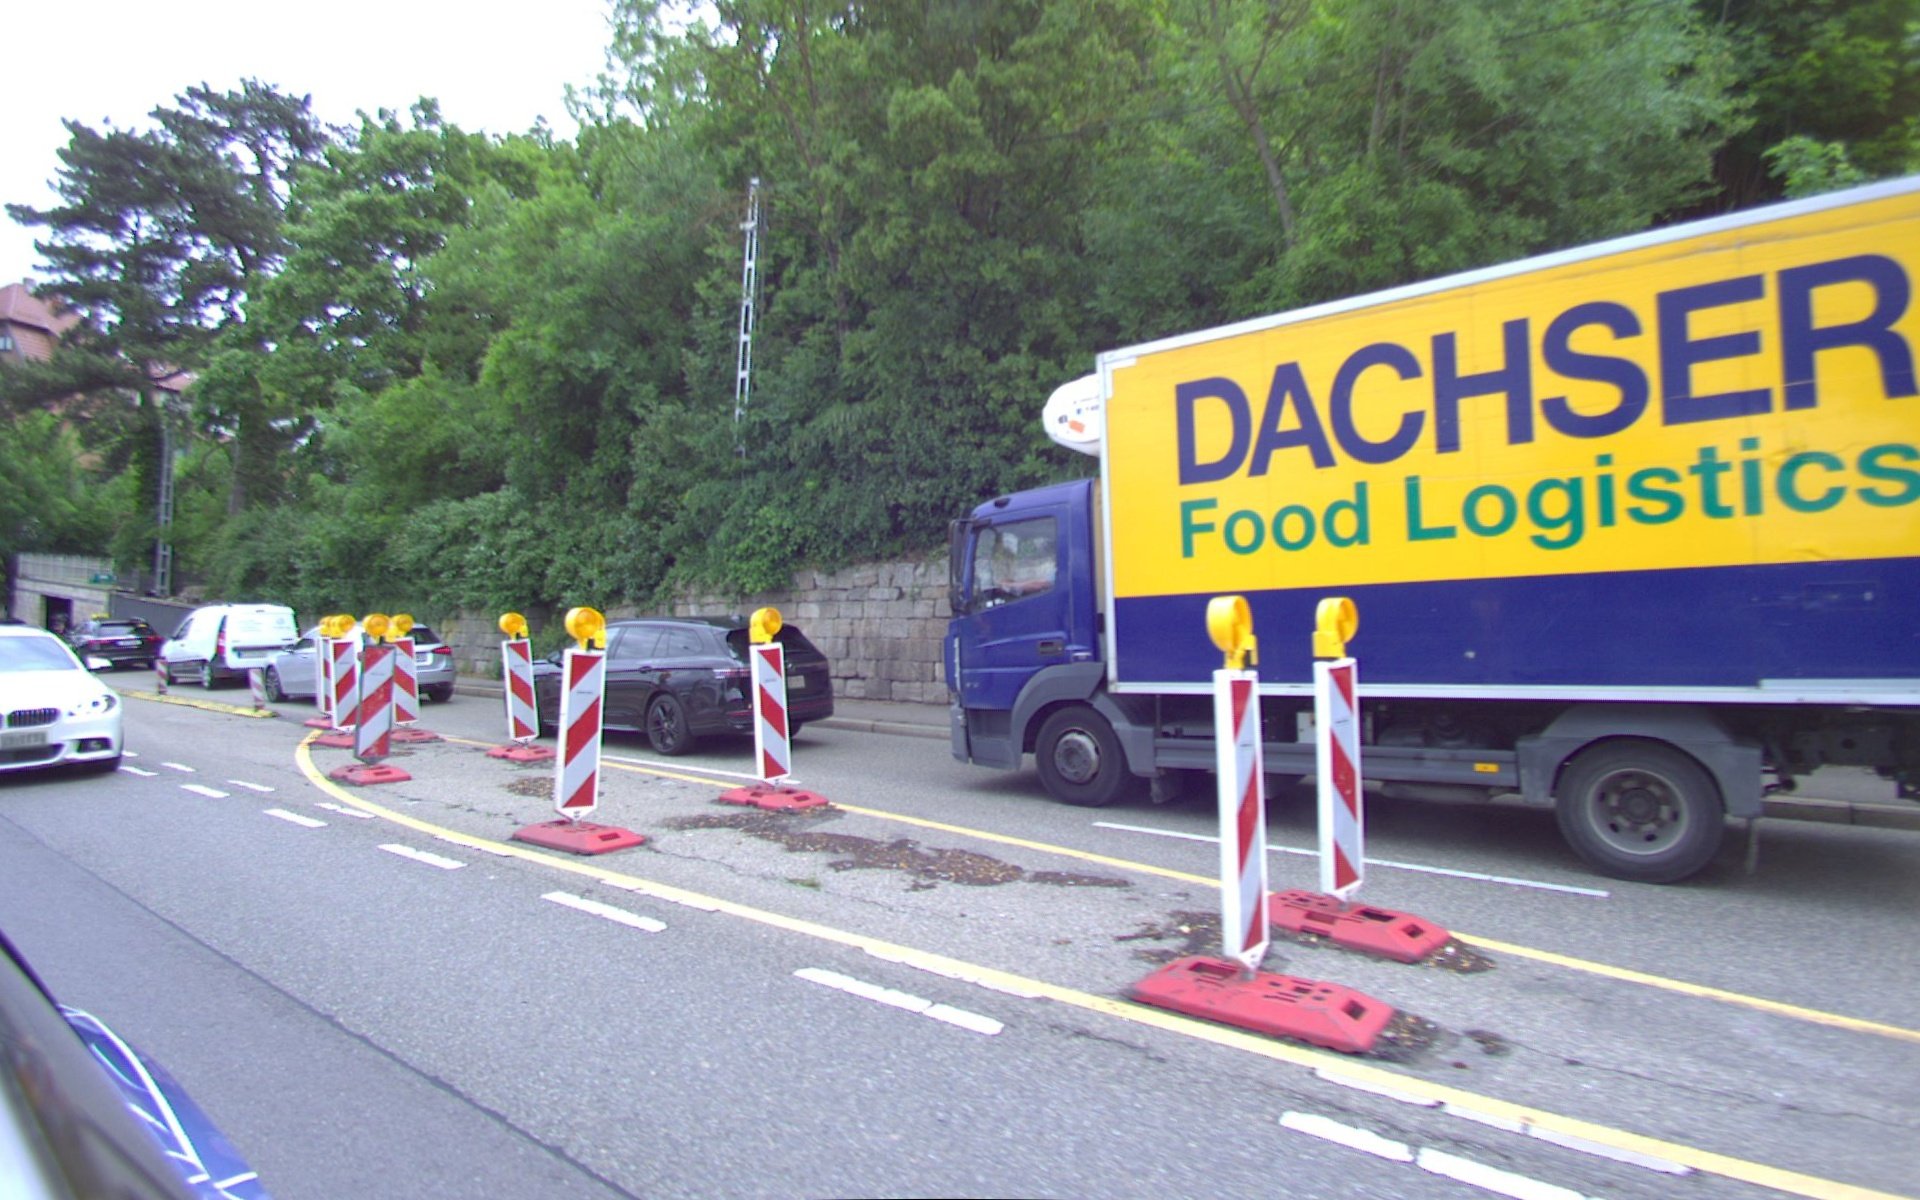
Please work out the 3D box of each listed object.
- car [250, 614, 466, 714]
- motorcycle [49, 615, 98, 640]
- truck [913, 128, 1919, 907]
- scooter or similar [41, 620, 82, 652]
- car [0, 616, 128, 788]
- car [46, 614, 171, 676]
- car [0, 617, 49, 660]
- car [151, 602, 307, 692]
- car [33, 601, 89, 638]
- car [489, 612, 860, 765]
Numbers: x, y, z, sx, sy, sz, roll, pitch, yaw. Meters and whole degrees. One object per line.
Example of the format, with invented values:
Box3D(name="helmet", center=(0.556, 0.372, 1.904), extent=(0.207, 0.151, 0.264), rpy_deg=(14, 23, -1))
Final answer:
Box3D(name="car", center=(-10.665, 1.038, 17.822), extent=(4.304, 1.519, 1.775), rpy_deg=(-1, 0, 37))
Box3D(name="motorcycle", center=(-45.452, 1.395, 51.883), extent=(0.636, 1.192, 1.820), rpy_deg=(5, 4, 40))
Box3D(name="truck", center=(3.312, -0.338, 7.138), extent=(7.340, 3.537, 2.705), rpy_deg=(-1, -1, 38))
Box3D(name="scooter or similar", center=(-36.143, 1.445, 40.729), extent=(0.488, 1.242, 1.213), rpy_deg=(-1, 0, 4))
Box3D(name="car", center=(-10.254, 0.928, 10.382), extent=(4.875, 1.478, 1.829), rpy_deg=(-1, 0, 41))
Box3D(name="car", center=(-24.365, 1.234, 28.907), extent=(4.648, 1.604, 1.814), rpy_deg=(-1, 0, 38))
Box3D(name="car", center=(-36.351, 1.432, 38.480), extent=(4.312, 1.496, 1.811), rpy_deg=(-1, 0, 38))
Box3D(name="car", center=(-16.326, 0.977, 22.529), extent=(4.338, 1.804, 1.785), rpy_deg=(-1, 0, 39))
Box3D(name="car", center=(-47.245, 1.013, 53.167), extent=(3.583, 1.616, 1.554), rpy_deg=(4, 4, 37))
Box3D(name="car", center=(-3.528, 0.897, 12.021), extent=(4.738, 1.452, 1.754), rpy_deg=(-1, 0, 38))
